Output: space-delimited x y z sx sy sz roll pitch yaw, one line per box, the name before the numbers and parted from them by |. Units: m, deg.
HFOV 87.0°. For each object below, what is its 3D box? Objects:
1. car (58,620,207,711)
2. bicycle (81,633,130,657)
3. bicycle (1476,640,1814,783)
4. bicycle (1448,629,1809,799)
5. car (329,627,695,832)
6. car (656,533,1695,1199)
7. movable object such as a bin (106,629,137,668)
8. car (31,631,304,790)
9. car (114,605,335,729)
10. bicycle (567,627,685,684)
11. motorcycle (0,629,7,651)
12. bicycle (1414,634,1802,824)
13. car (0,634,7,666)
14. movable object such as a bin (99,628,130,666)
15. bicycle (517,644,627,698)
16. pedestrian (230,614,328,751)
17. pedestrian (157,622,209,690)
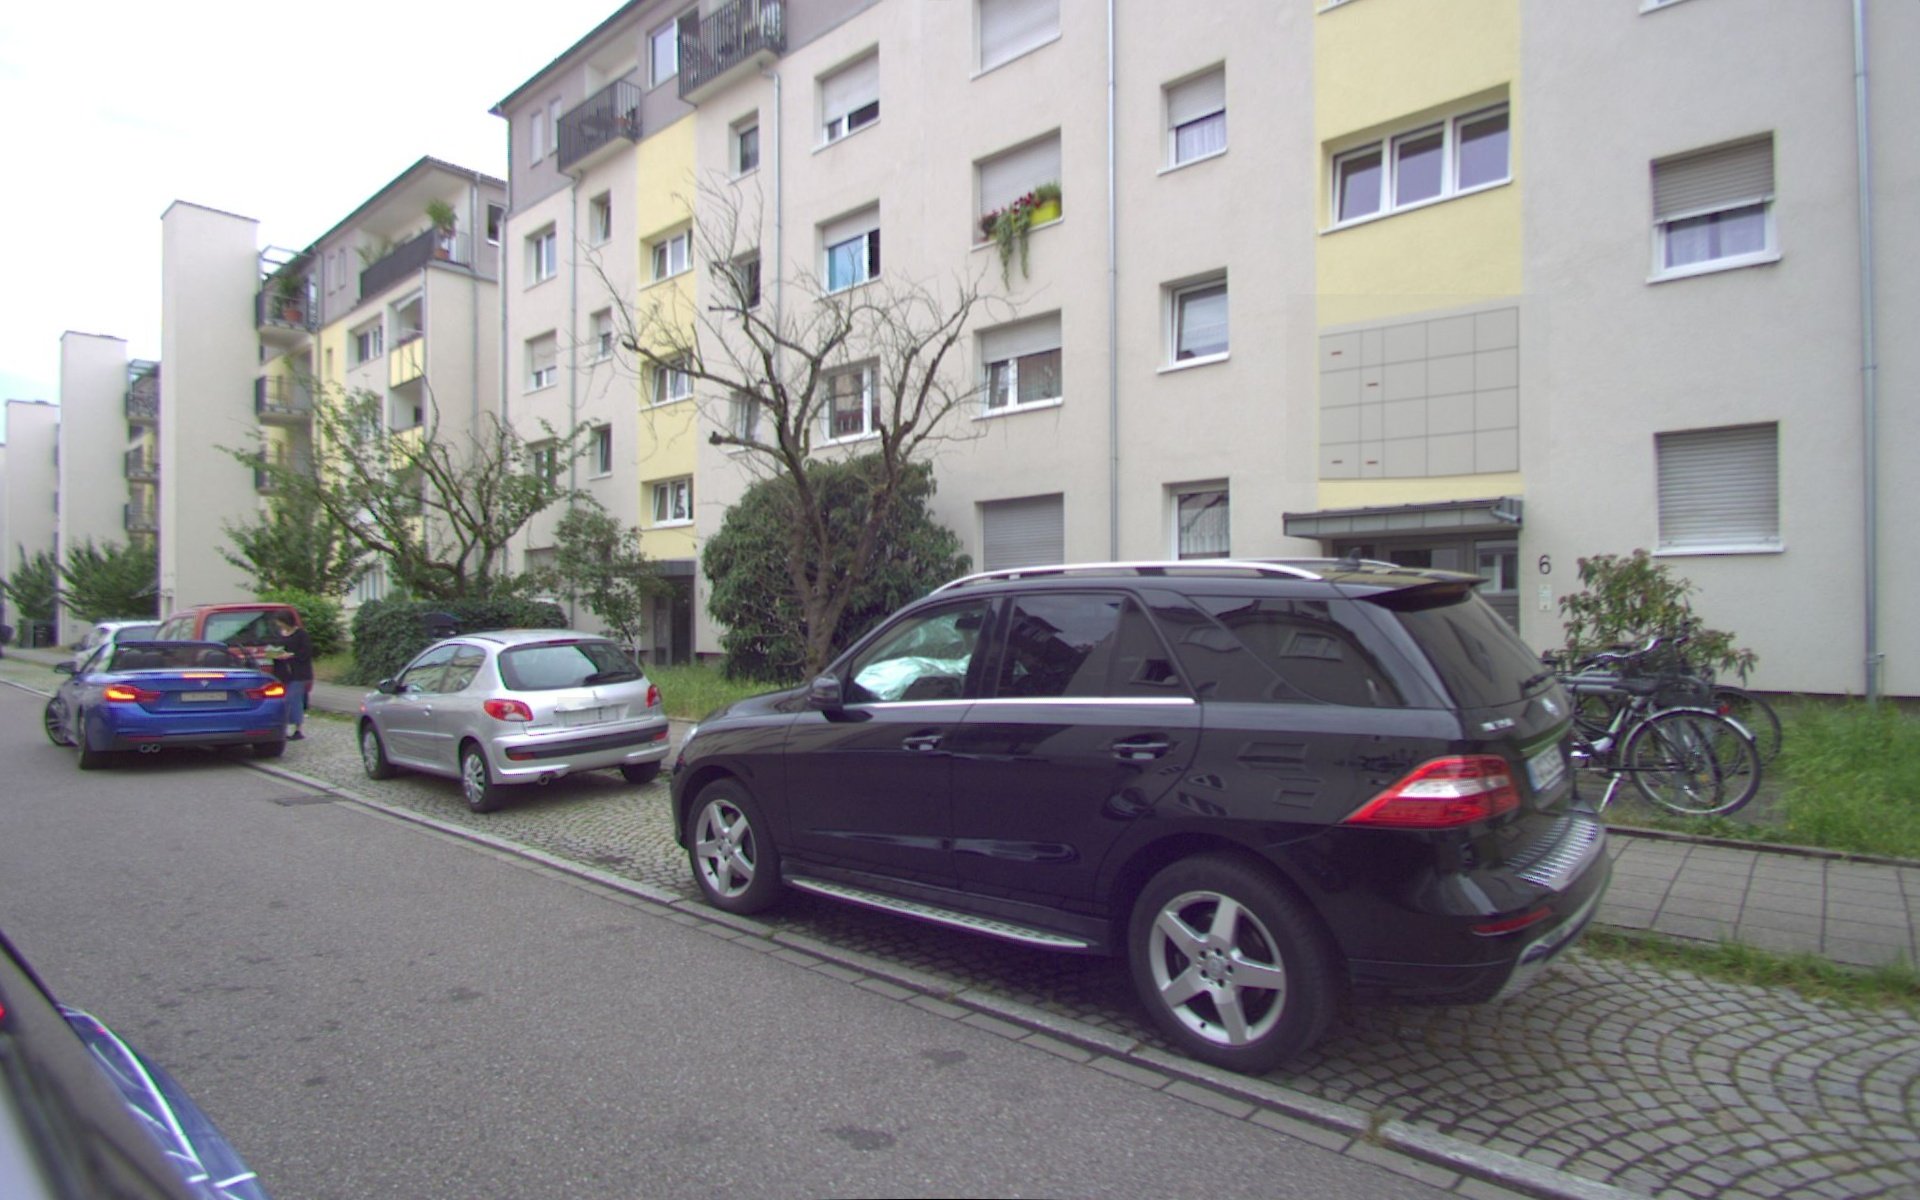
car | -16.758 1.253 20.445 3.868 1.582 1.703 -2 0 41
bicycle | -43.064 2.246 51.036 0.604 1.127 1.816 -2 -1 40
bicycle | 5.923 0.901 8.873 2.354 1.089 0.780 -2 -2 42
bicycle | 5.359 0.849 8.252 2.354 1.195 0.780 -2 -2 42
car | -4.343 1.035 9.568 3.784 1.476 1.726 -2 0 41
car | 0.637 0.715 4.828 4.472 1.753 1.875 -2 1 41
movable object such as a bin | -32.032 1.823 38.671 1.289 1.440 0.794 -2 -1 45
car | -9.407 1.125 11.868 4.500 1.462 1.825 -2 -1 43
car | -12.361 1.031 16.920 4.357 1.784 1.937 -2 -1 39
bicycle | -6.264 1.005 18.885 2.754 1.006 0.769 -2 -2 40
motorcycle | -58.074 2.427 60.856 2.419 1.316 0.860 -2 0 42
bicycle | 4.798 0.875 7.646 2.354 1.221 0.780 -2 -2 42
car | -42.413 2.173 43.330 4.358 1.333 1.851 -2 0 40
movable object such as a bin | -33.074 1.817 39.583 1.288 1.440 0.794 -2 -1 44
bicycle | -6.909 1.228 17.921 2.754 0.854 0.565 -1 -2 40
pedestrian | -8.813 1.040 13.113 0.791 1.714 0.737 -1 -2 24
pedestrian | -19.002 1.347 24.758 0.945 1.622 0.792 -2 -2 37
